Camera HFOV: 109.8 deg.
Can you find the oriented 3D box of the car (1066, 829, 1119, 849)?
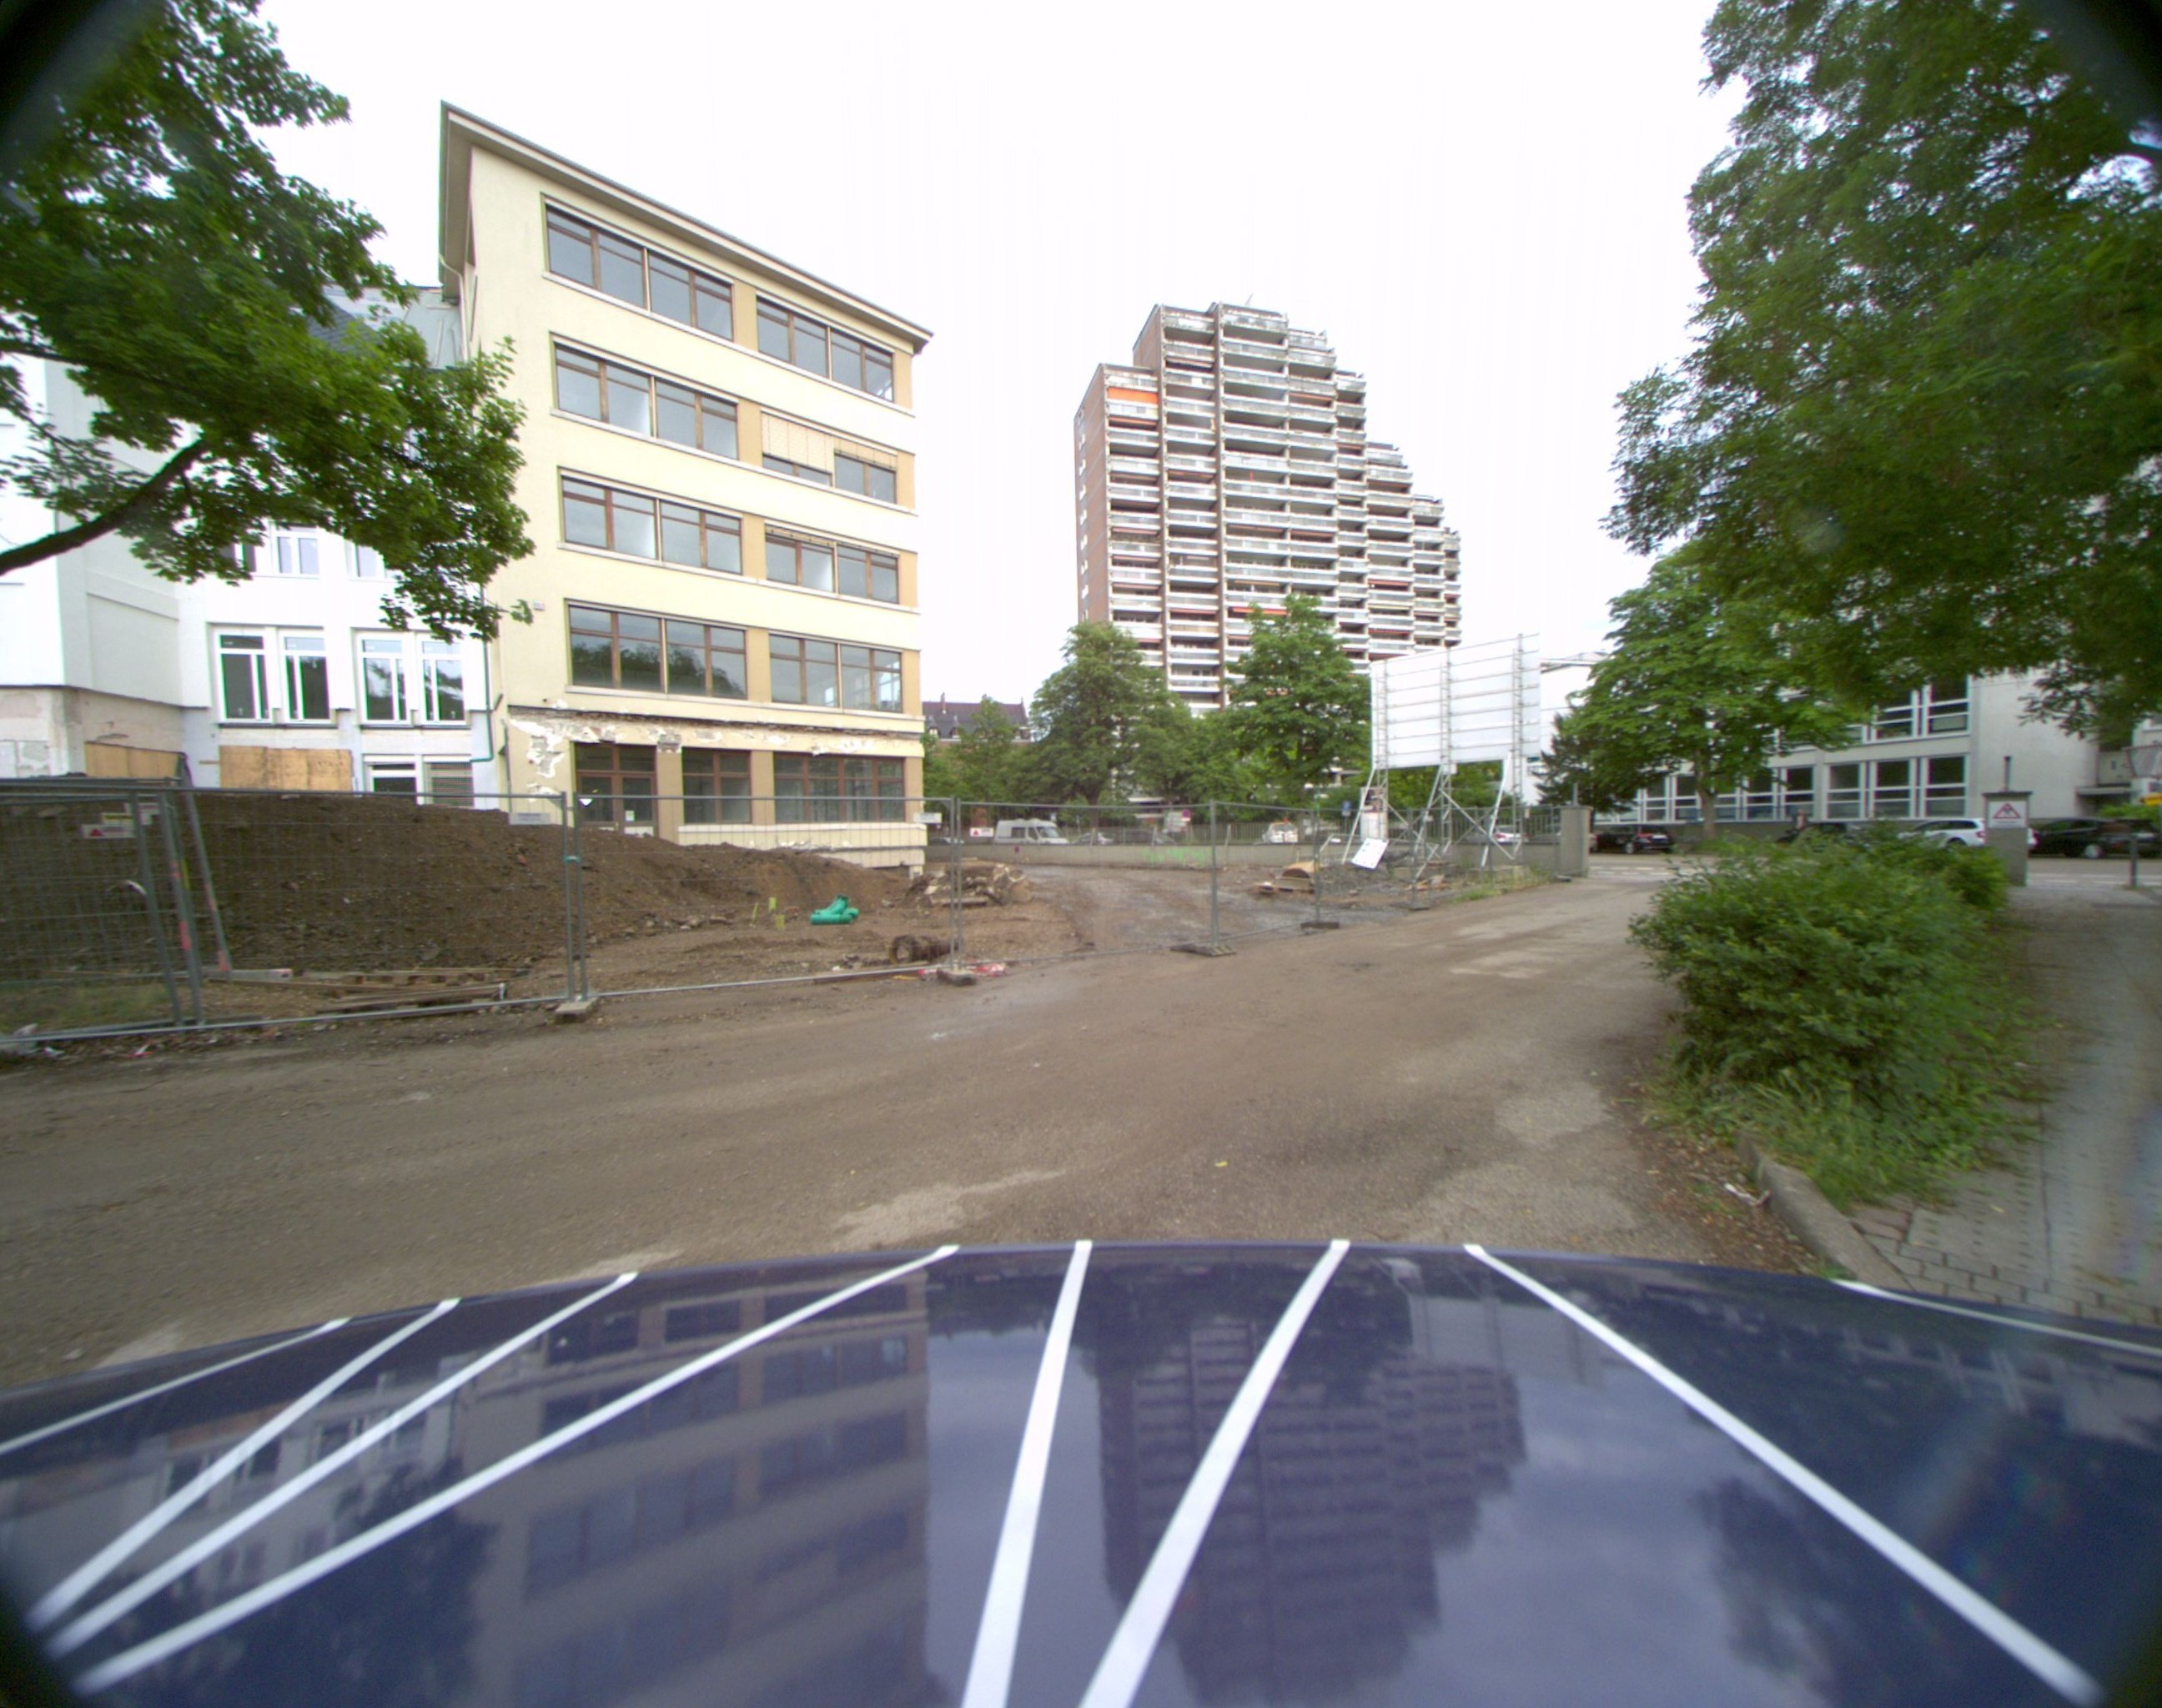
[{"bbox_3d":[0.802,-1.150,57.070,1.749,1.421,3.988,-3,3,-40],"label":"car"}]

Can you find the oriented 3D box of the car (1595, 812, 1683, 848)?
[{"bbox_3d":[26.433,-1.172,36.163,1.698,1.516,3.705,-2,3,6],"label":"car"}]

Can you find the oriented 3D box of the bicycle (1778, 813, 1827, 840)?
[{"bbox_3d":[33.747,-1.286,35.575,0.406,1.261,1.591,-3,3,-31],"label":"bicycle"}]

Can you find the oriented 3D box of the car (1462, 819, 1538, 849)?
[{"bbox_3d":[22.645,-1.120,41.250,1.802,1.457,4.430,-1,3,2],"label":"car"}]

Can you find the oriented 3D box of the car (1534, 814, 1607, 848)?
[{"bbox_3d":[24.582,-1.187,38.289,1.571,1.516,3.650,-2,3,6],"label":"car"}]

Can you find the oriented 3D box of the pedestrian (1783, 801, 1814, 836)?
[{"bbox_3d":[33.860,-1.707,35.849,0.735,1.603,0.753,-4,6,-19],"label":"pedestrian"}]

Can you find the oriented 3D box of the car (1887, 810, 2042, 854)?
[{"bbox_3d":[33.271,-0.882,28.809,1.697,1.476,4.030,-2,3,12],"label":"car"}]

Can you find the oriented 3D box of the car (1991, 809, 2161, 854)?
[{"bbox_3d":[35.286,-0.843,26.940,1.697,1.398,4.030,-2,3,12],"label":"car"}]

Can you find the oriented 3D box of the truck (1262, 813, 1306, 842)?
[{"bbox_3d":[13.738,-1.866,51.717,1.998,1.838,5.063,-2,3,5],"label":"truck"}]

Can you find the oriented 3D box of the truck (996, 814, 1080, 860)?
[{"bbox_3d":[-2.692,-1.075,46.378,2.123,2.588,5.475,-5,4,-40],"label":"truck"}]

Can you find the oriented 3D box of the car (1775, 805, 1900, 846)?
[{"bbox_3d":[31.206,-1.215,31.506,1.698,1.516,3.705,-2,3,6],"label":"car"}]

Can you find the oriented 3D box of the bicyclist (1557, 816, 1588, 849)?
[{"bbox_3d":[22.559,-0.991,34.844,1.024,1.492,0.847,2,4,45],"label":"bicyclist"}]

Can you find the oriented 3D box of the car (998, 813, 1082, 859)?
[{"bbox_3d":[-2.597,-1.099,46.301,2.123,2.588,5.475,-5,4,-40],"label":"car"}]

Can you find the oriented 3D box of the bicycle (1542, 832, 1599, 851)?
[{"bbox_3d":[22.483,-0.572,34.919,2.132,0.864,0.471,1,3,44],"label":"bicycle"}]
